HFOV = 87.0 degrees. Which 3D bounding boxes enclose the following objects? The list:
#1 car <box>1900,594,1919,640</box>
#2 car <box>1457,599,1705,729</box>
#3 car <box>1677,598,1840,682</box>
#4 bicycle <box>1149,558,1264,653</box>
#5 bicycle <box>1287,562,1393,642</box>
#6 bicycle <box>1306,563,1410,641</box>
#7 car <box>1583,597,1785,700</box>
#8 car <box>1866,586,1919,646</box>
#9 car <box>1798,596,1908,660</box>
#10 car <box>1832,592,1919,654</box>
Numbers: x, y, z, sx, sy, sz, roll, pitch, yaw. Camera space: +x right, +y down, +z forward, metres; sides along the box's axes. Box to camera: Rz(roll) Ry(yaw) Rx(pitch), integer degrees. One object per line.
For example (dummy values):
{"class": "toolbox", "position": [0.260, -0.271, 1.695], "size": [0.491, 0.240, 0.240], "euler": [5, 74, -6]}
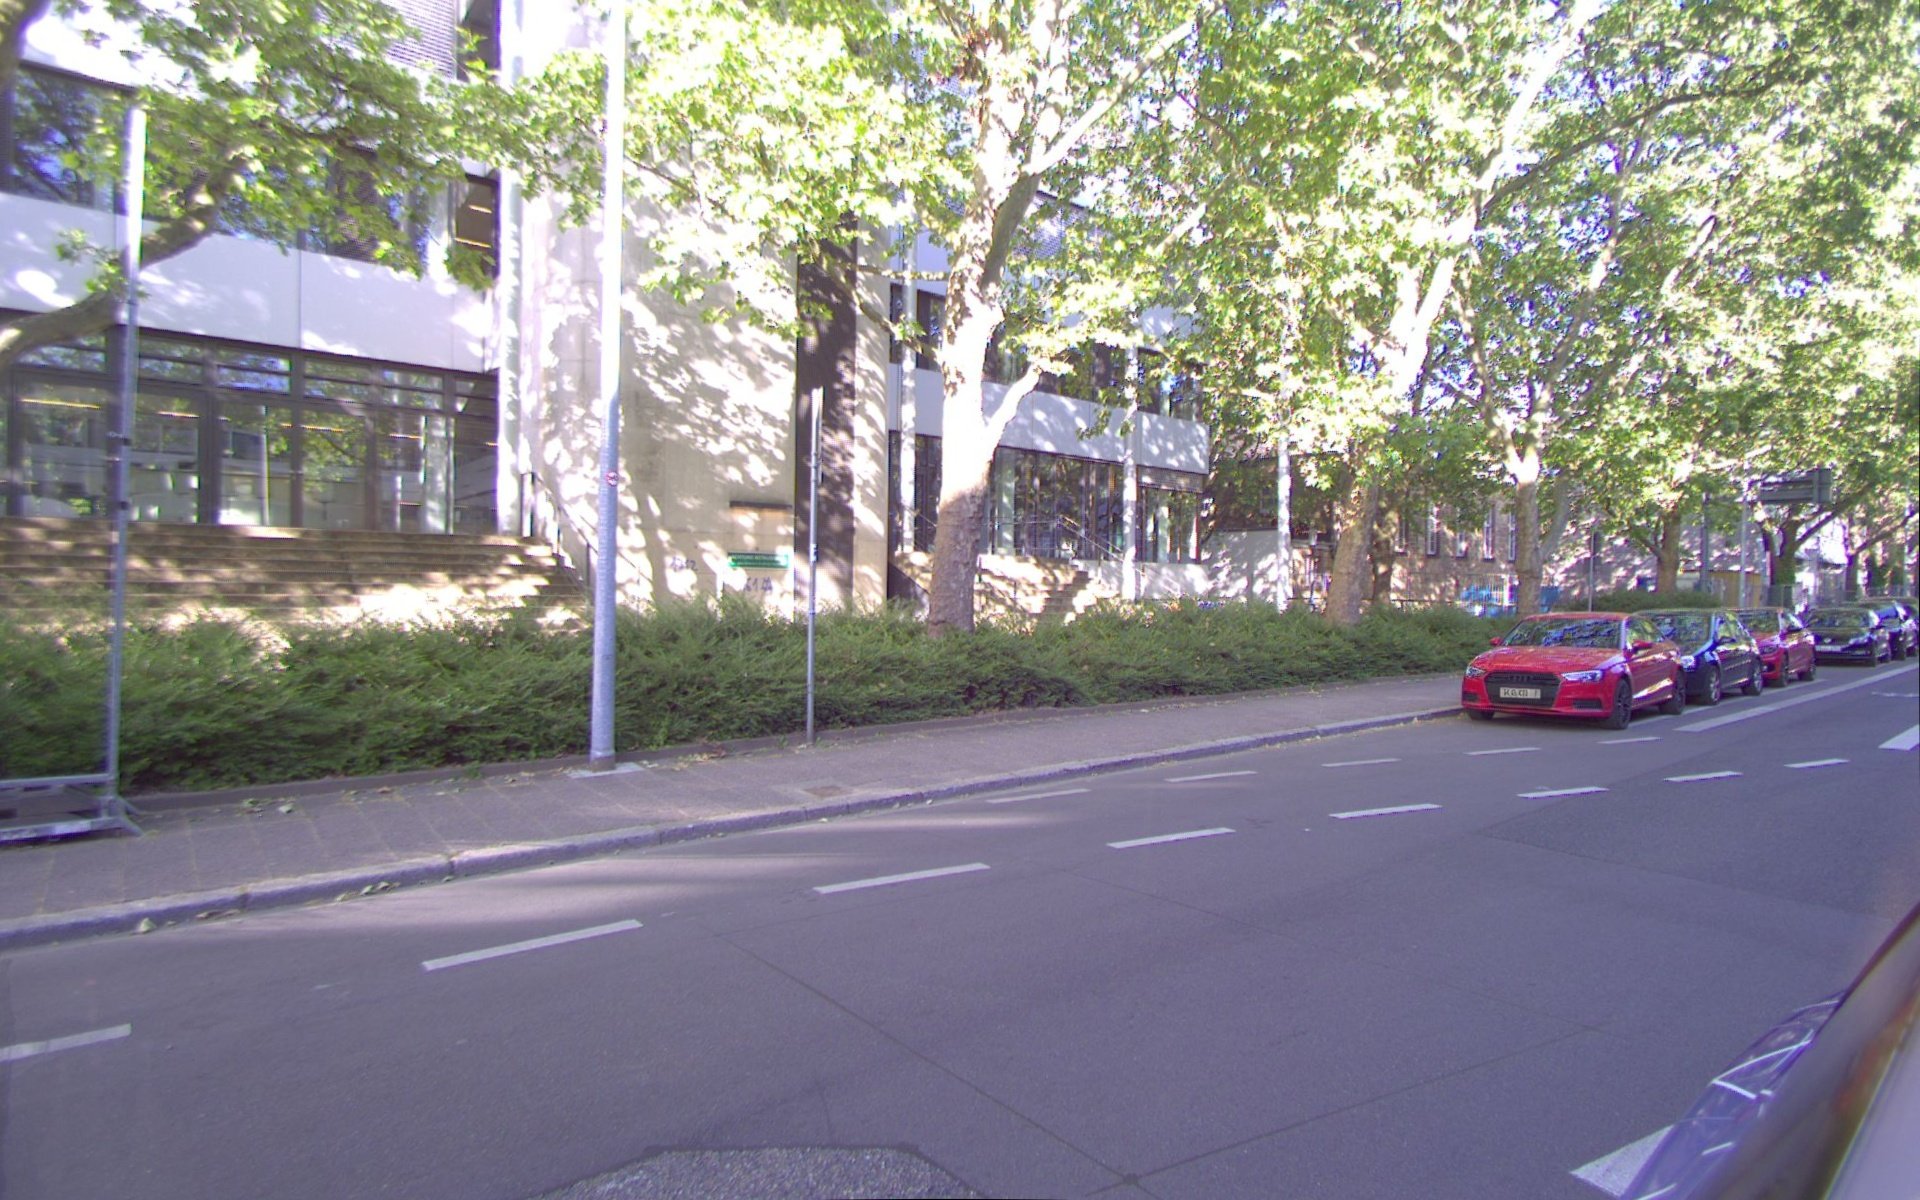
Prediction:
{"class": "car", "position": [36.083, 0.584, 37.324], "size": [4.256, 1.648, 1.694], "euler": [0, -1, -43]}
{"class": "car", "position": [8.448, 0.743, 13.596], "size": [4.360, 1.468, 1.694], "euler": [0, -1, -43]}
{"class": "car", "position": [15.880, 0.731, 20.059], "size": [4.242, 1.498, 1.696], "euler": [0, -1, -40]}
{"class": "bicycle", "position": [5.524, 0.092, 22.863], "size": [0.729, 2.039, 2.603], "euler": [0, 1, -40]}
{"class": "bicycle", "position": [10.051, 0.032, 26.902], "size": [0.729, 2.039, 2.603], "euler": [0, 1, -40]}
{"class": "bicycle", "position": [10.765, 0.022, 27.473], "size": [0.729, 2.039, 2.603], "euler": [0, 1, -40]}
{"class": "car", "position": [11.927, 0.719, 16.591], "size": [3.992, 1.485, 1.696], "euler": [0, -1, -39]}
{"class": "car", "position": [31.095, 0.512, 33.279], "size": [1.823, 1.865, 4.826], "euler": [-2, -1, 41]}
{"class": "car", "position": [22.995, 0.683, 26.012], "size": [3.952, 1.523, 1.694], "euler": [0, -1, -43]}
{"class": "car", "position": [26.709, 0.623, 29.193], "size": [4.541, 1.648, 1.778], "euler": [0, -1, -42]}
